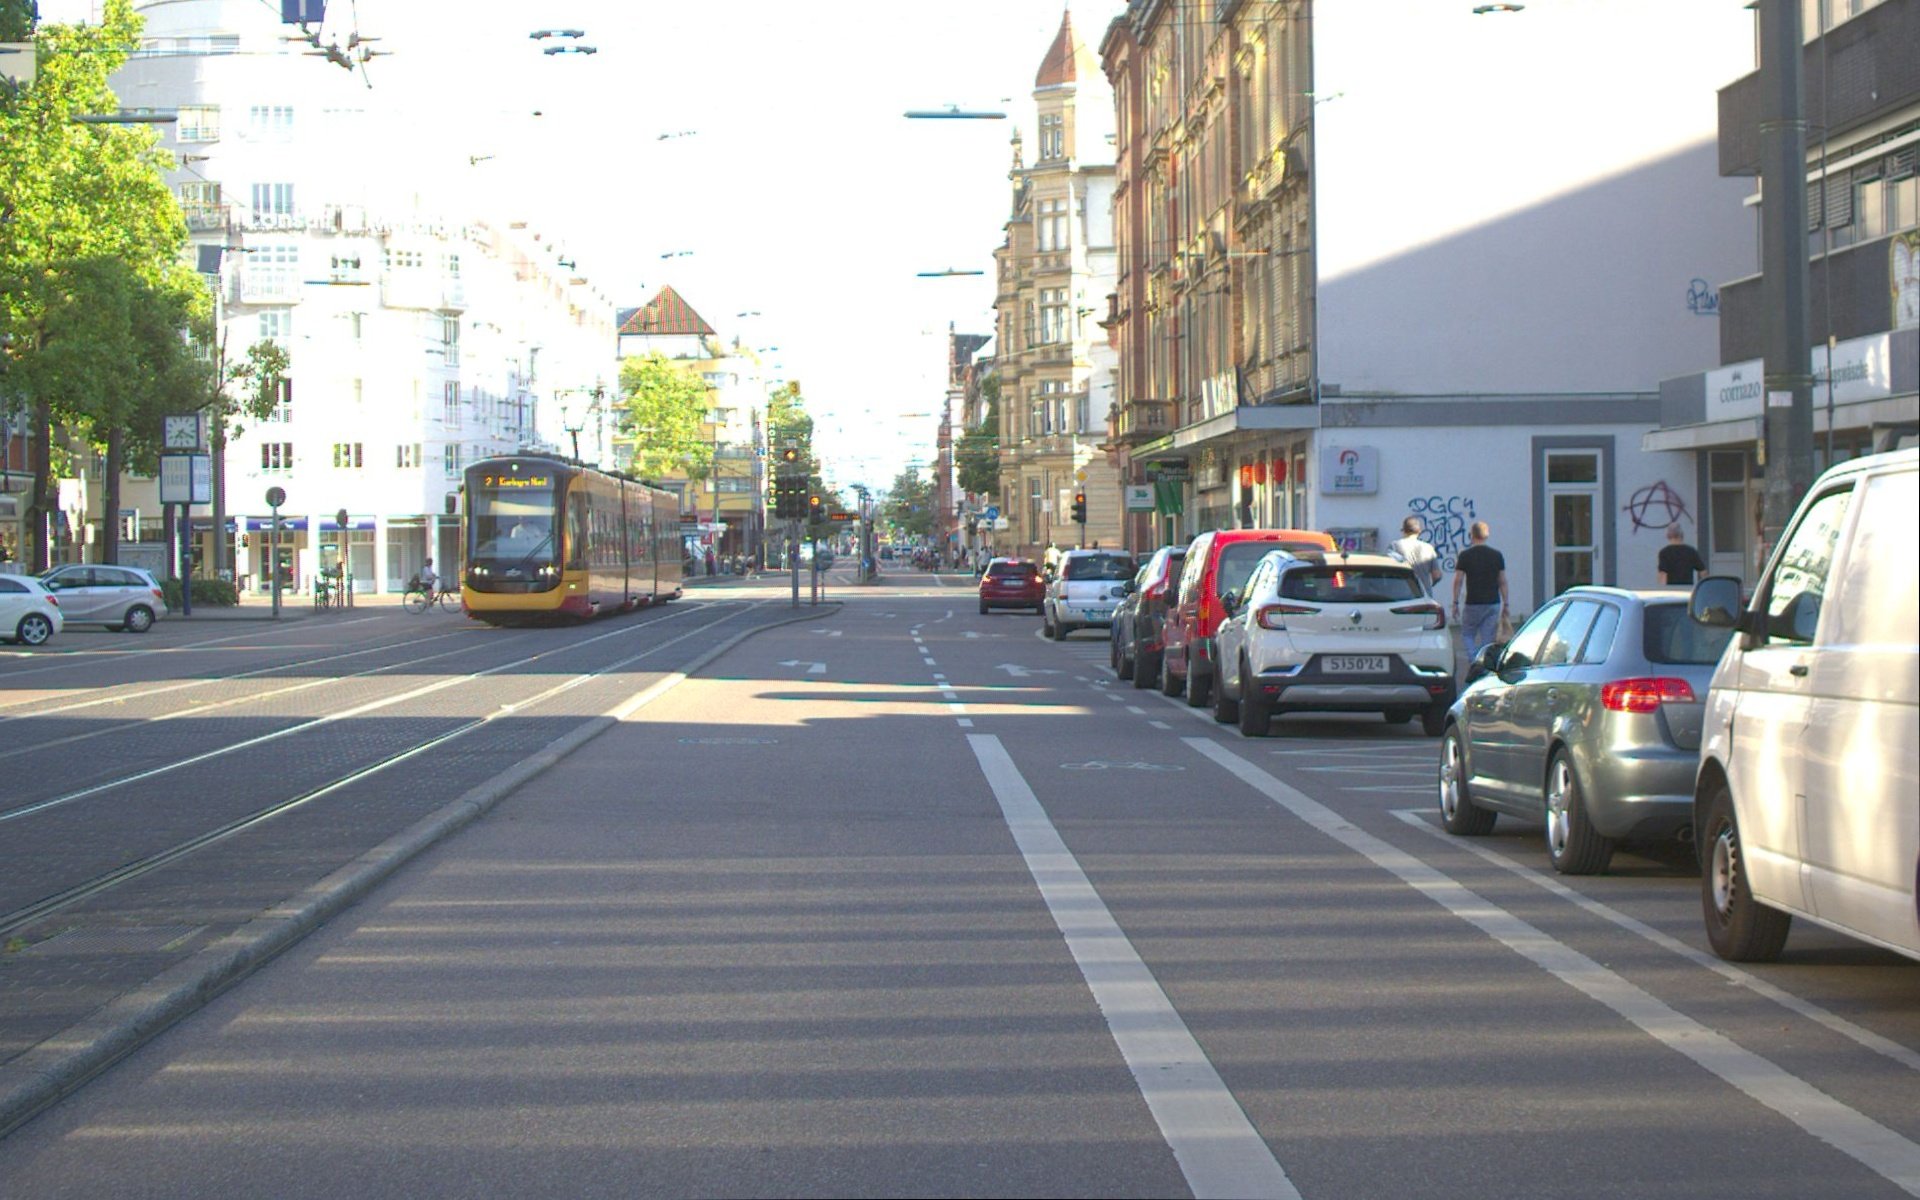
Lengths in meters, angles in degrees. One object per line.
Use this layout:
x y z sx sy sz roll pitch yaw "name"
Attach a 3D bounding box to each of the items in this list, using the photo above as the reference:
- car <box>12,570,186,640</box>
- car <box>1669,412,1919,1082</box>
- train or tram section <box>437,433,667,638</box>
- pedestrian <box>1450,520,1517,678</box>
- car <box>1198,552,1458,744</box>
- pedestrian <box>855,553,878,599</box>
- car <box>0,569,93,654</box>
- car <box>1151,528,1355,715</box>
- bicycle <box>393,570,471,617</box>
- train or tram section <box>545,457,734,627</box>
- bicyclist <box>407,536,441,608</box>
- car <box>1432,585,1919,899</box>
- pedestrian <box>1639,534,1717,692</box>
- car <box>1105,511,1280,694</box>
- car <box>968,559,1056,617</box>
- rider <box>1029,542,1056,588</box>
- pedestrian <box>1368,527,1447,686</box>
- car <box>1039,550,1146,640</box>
-19.748 0.124 78.869 3.519 1.476 1.582 2 0 -33 "car"
3.842 0.413 11.414 1.971 2.007 4.558 -1 1 0 "car"
-8.599 -1.320 74.132 2.692 3.946 12.089 3 0 3 "train or tram section"
5.760 -0.010 37.841 0.624 1.716 0.628 0 0 0 "pedestrian"
3.156 0.373 30.174 1.723 1.562 4.083 0 1 -2 "car"
-4.140 -1.053 152.886 0.920 2.007 0.759 3 0 -1 "pedestrian"
-19.459 0.196 68.374 3.869 1.622 1.875 2 0 -32 "car"
3.031 0.196 36.262 1.621 1.807 4.083 2 0 -2 "car"
-15.010 -0.188 97.701 2.020 1.235 0.700 3 0 6 "bicycle"
-7.899 -1.387 86.598 2.692 3.865 12.842 3 0 3 "train or tram section"
-15.244 -0.804 97.731 0.722 2.007 0.700 3 0 6 "bicyclist"
3.596 0.642 17.718 1.621 1.366 3.931 2 0 -2 "car"
7.911 0.143 37.892 0.661 1.716 0.835 0 0 0 "pedestrian"
2.703 0.014 40.601 1.621 2.000 3.831 2 0 -2 "car"
1.318 -0.337 89.729 2.065 1.384 4.225 3 0 -1 "car"
2.737 -1.160 113.813 0.711 1.476 0.886 2 0 11 "rider"
4.901 0.065 37.705 0.730 1.716 0.835 0 0 0 "pedestrian"
2.407 -0.105 63.170 1.621 1.550 4.083 2 0 -2 "car"
